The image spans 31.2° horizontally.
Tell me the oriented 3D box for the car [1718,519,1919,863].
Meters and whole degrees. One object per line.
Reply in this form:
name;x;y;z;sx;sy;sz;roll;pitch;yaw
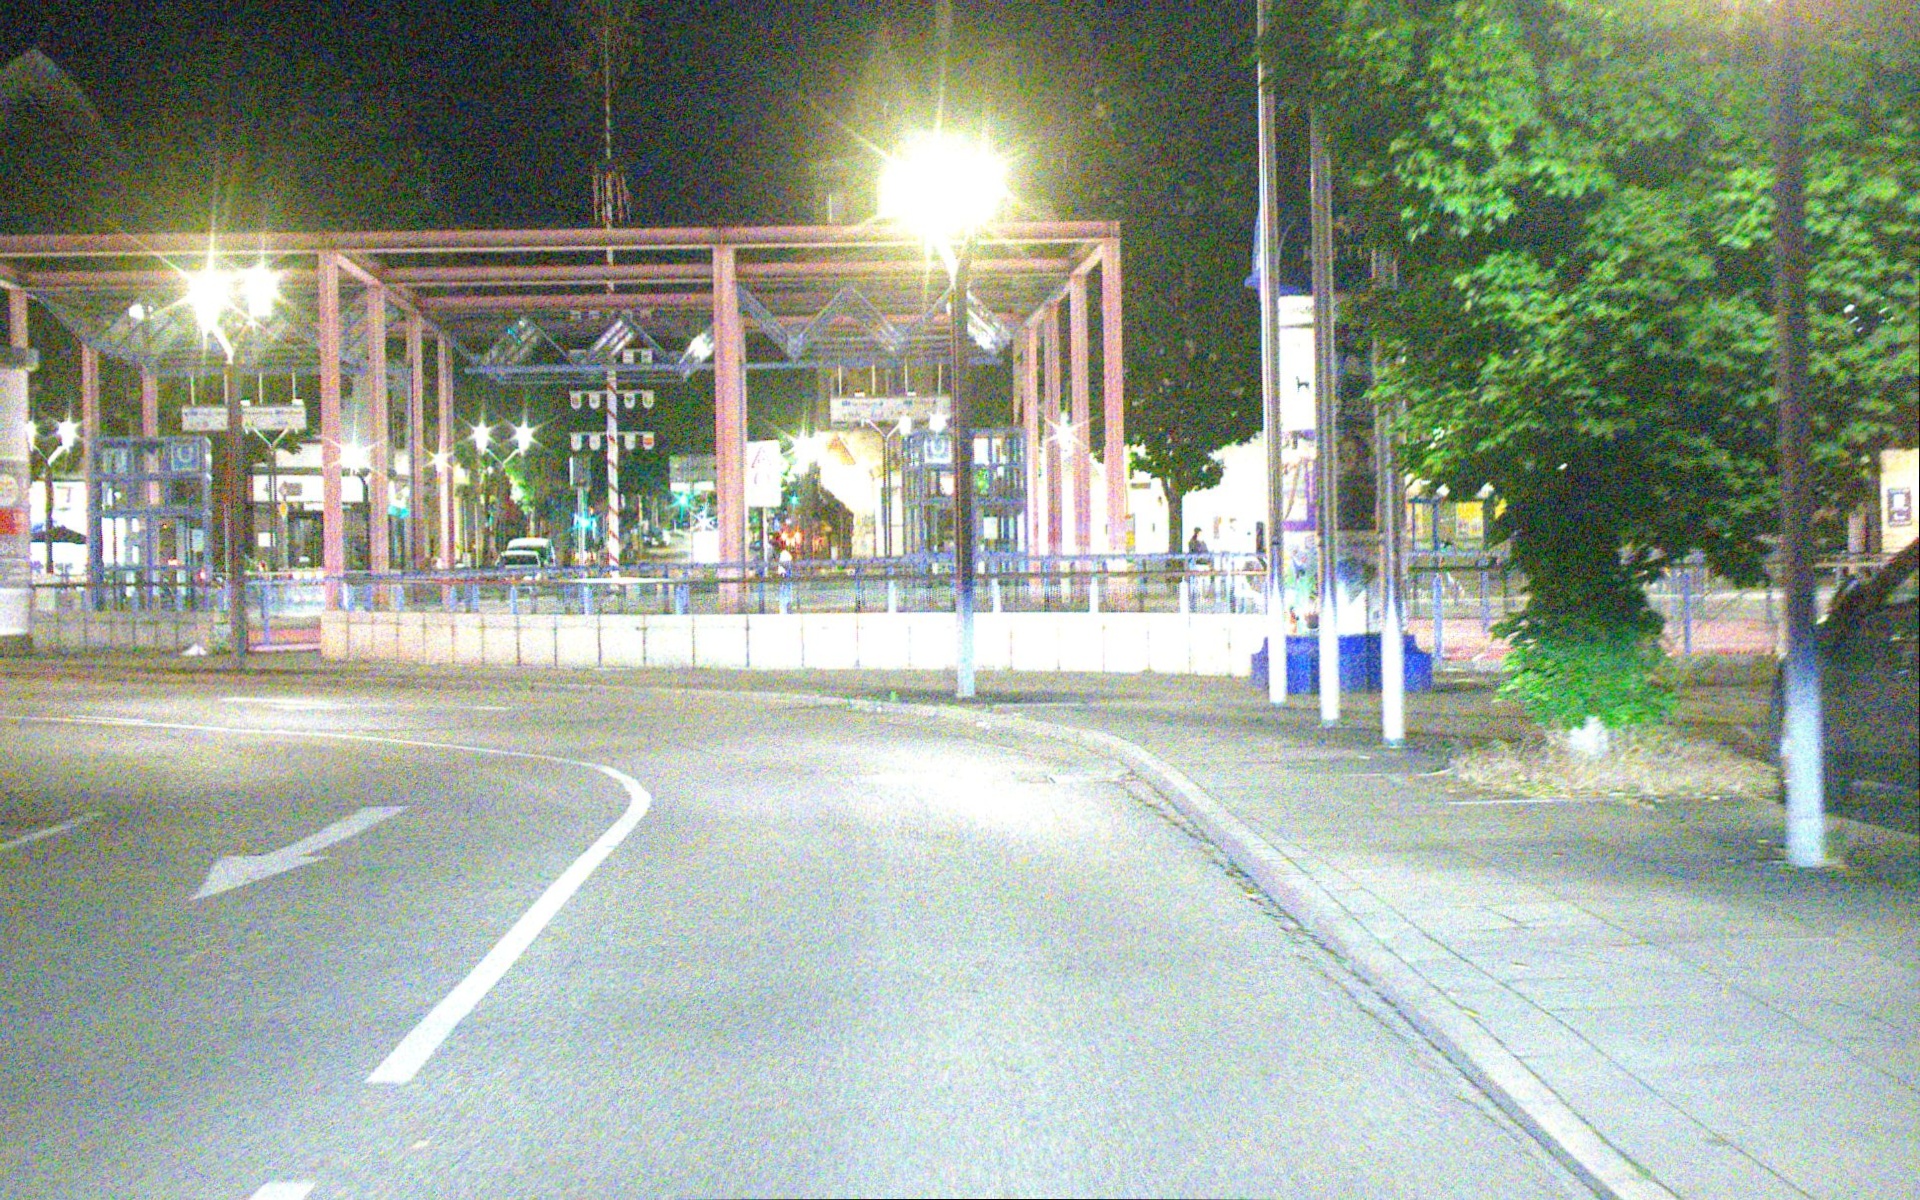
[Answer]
car;4.894;0.372;15.003;1.733;1.454;4.728;-1;1;-5
